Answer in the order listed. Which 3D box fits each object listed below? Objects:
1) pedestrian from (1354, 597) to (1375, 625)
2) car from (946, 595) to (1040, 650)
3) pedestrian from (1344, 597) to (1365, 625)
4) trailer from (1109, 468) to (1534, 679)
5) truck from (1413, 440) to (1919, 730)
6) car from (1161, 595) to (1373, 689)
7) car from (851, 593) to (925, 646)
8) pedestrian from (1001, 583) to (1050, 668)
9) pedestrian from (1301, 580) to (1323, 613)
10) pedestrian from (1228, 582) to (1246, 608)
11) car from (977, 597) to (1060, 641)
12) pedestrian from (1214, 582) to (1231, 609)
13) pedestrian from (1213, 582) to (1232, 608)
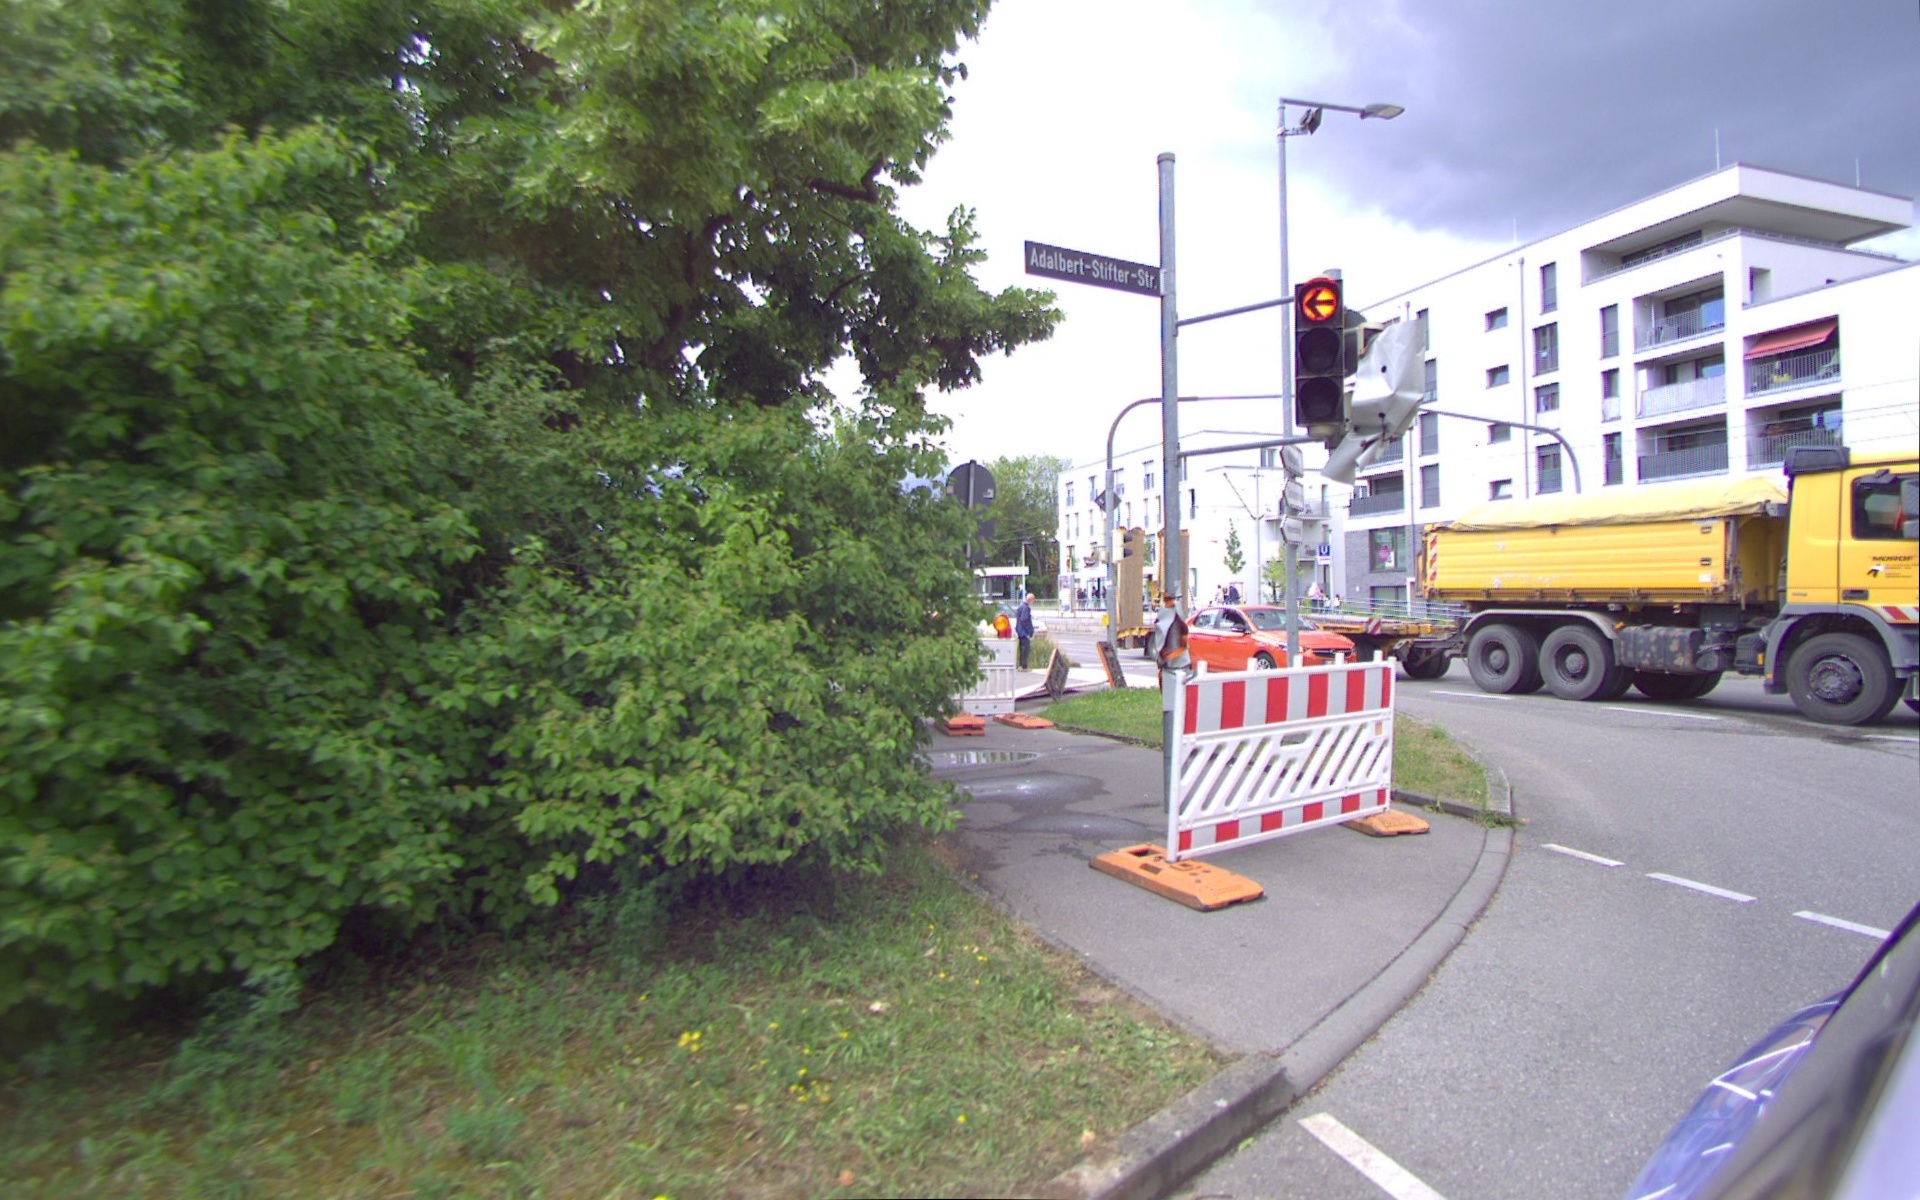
[{"bbox_3d":[20.506,0.569,51.284,0.701,1.427,0.672,0,-1,-21],"label":"pedestrian"},{"bbox_3d":[0.948,0.658,31.089,1.703,1.594,3.452,0,0,-21],"label":"car"},{"bbox_3d":[19.665,0.551,50.490,0.701,1.427,0.672,0,-1,-21],"label":"pedestrian"},{"bbox_3d":[7.139,-0.453,22.774,2.658,3.566,10.936,0,0,-20],"label":"trailer"},{"bbox_3d":[10.282,-0.202,14.001,2.671,3.041,7.795,0,1,-20],"label":"truck"},{"bbox_3d":[5.469,0.665,18.578,1.658,1.498,4.008,0,1,-20],"label":"car"},{"bbox_3d":[-2.955,0.744,40.965,1.958,2.039,4.008,0,0,-20],"label":"car"},{"bbox_3d":[1.388,0.537,21.346,0.940,1.762,0.726,-1,-1,10],"label":"pedestrian"},{"bbox_3d":[18.231,-0.167,52.416,0.701,1.709,0.767,0,-1,-21],"label":"pedestrian"},{"bbox_3d":[15.119,-0.251,55.215,0.701,1.427,0.672,0,-1,-21],"label":"pedestrian"},{"bbox_3d":[2.113,0.660,37.667,1.658,1.498,4.008,0,1,-20],"label":"car"},{"bbox_3d":[15.068,-0.241,58.056,0.701,1.538,0.672,0,-1,-21],"label":"pedestrian"},{"bbox_3d":[14.453,-0.250,55.705,0.701,1.427,0.672,0,-1,-26],"label":"pedestrian"}]
